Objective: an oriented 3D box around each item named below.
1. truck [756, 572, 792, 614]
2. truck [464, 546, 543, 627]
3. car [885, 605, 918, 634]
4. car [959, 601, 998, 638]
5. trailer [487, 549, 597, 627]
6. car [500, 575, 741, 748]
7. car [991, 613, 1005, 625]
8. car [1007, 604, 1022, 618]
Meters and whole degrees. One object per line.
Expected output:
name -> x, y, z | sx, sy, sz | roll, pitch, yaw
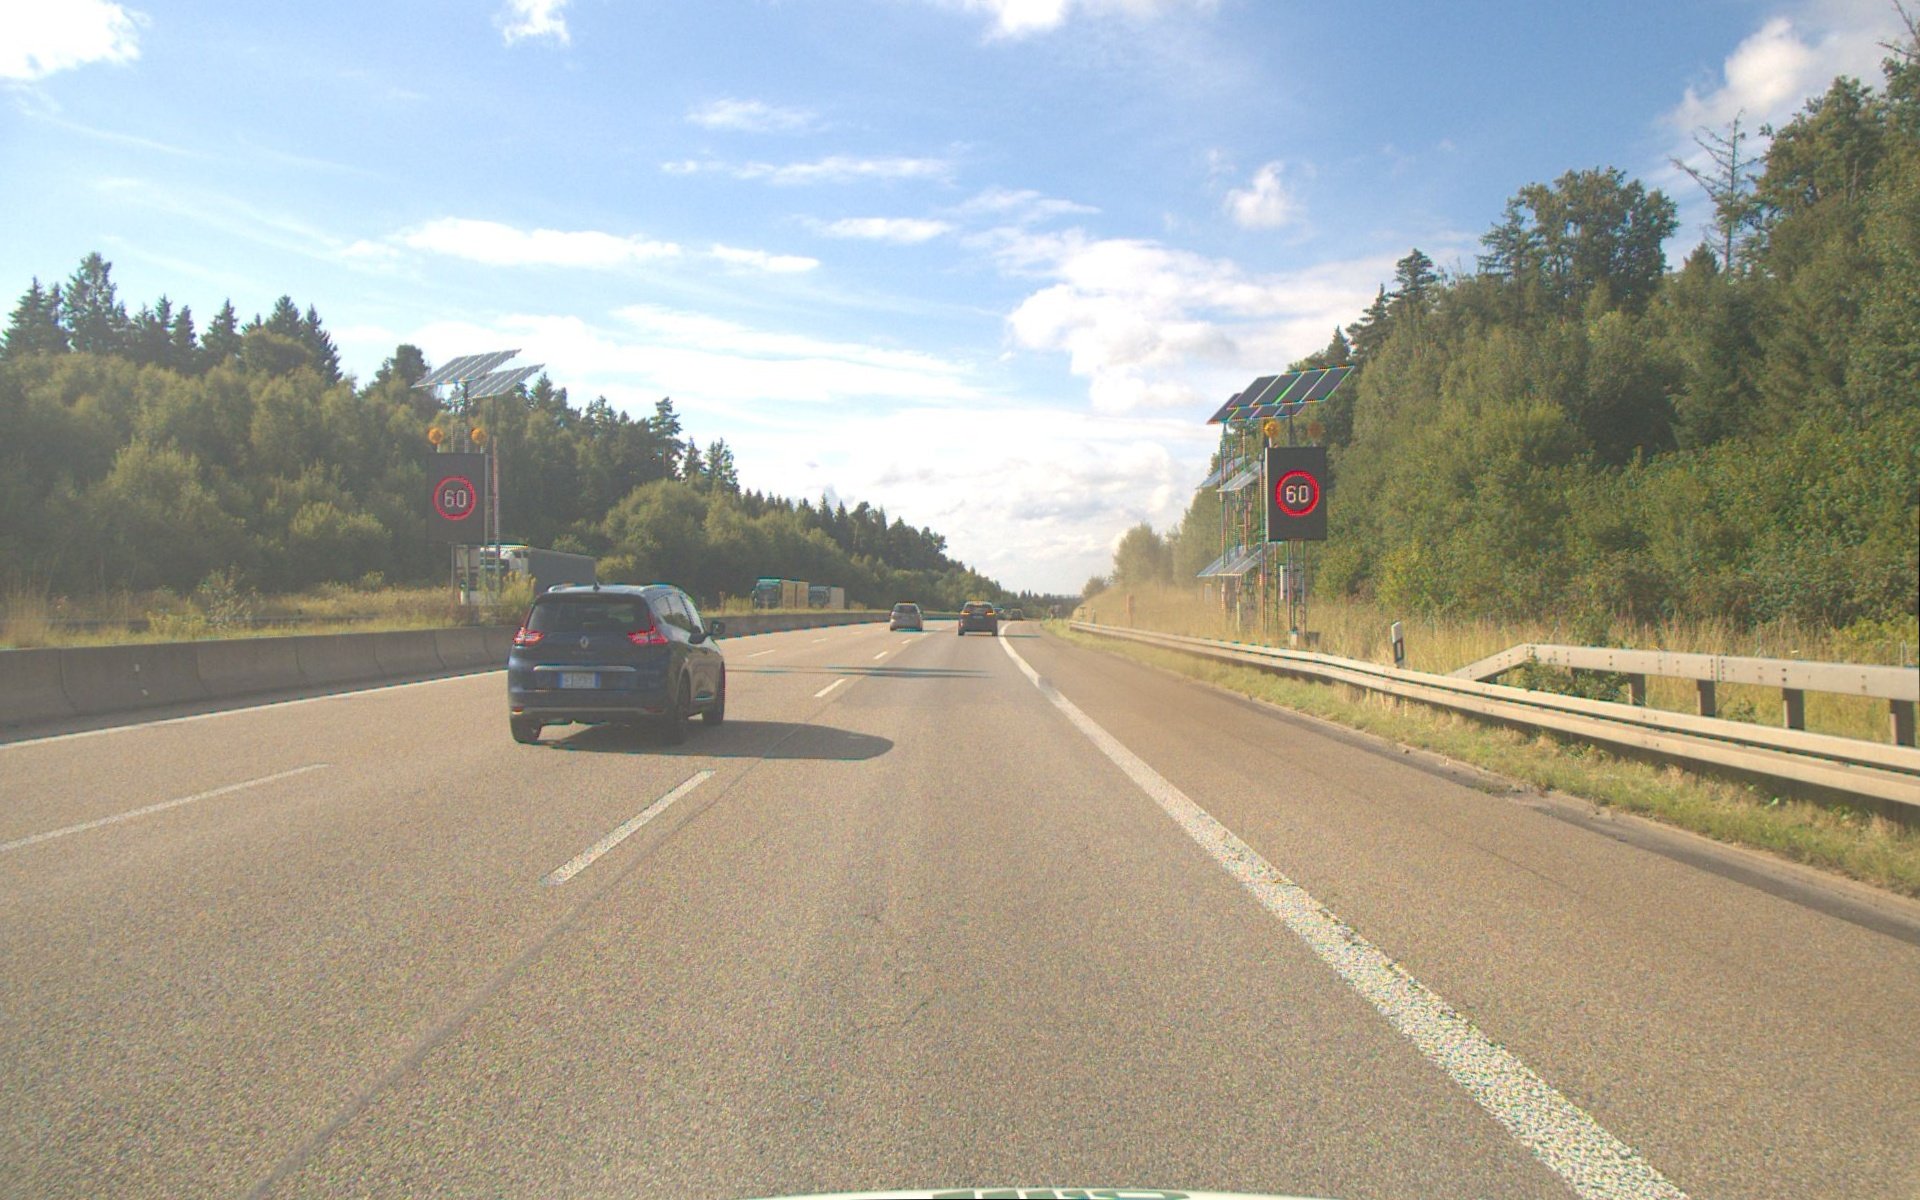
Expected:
truck -> -18.750, -0.691, 166.950 | 2.594, 4.157, 6.418 | 0, 0, 3
truck -> -22.200, -0.607, 80.663 | 2.232, 3.794, 5.532 | 1, 0, 1
car -> -3.298, 1.102, 93.803 | 1.836, 1.523, 3.878 | 1, 0, -2
car -> 0.946, 0.924, 80.771 | 1.835, 1.704, 3.891 | 1, 0, 1
trailer -> -22.061, -0.568, 88.167 | 2.232, 3.794, 13.276 | 1, 0, 1
car -> -3.770, 0.637, 19.167 | 1.953, 1.736, 4.527 | 1, 0, -2
car -> 5.395, 2.651, 233.913 | 1.834, 1.523, 3.882 | 1, 0, 4
car -> 7.180, 1.458, 218.290 | 1.775, 1.735, 4.000 | 0, 0, 0
